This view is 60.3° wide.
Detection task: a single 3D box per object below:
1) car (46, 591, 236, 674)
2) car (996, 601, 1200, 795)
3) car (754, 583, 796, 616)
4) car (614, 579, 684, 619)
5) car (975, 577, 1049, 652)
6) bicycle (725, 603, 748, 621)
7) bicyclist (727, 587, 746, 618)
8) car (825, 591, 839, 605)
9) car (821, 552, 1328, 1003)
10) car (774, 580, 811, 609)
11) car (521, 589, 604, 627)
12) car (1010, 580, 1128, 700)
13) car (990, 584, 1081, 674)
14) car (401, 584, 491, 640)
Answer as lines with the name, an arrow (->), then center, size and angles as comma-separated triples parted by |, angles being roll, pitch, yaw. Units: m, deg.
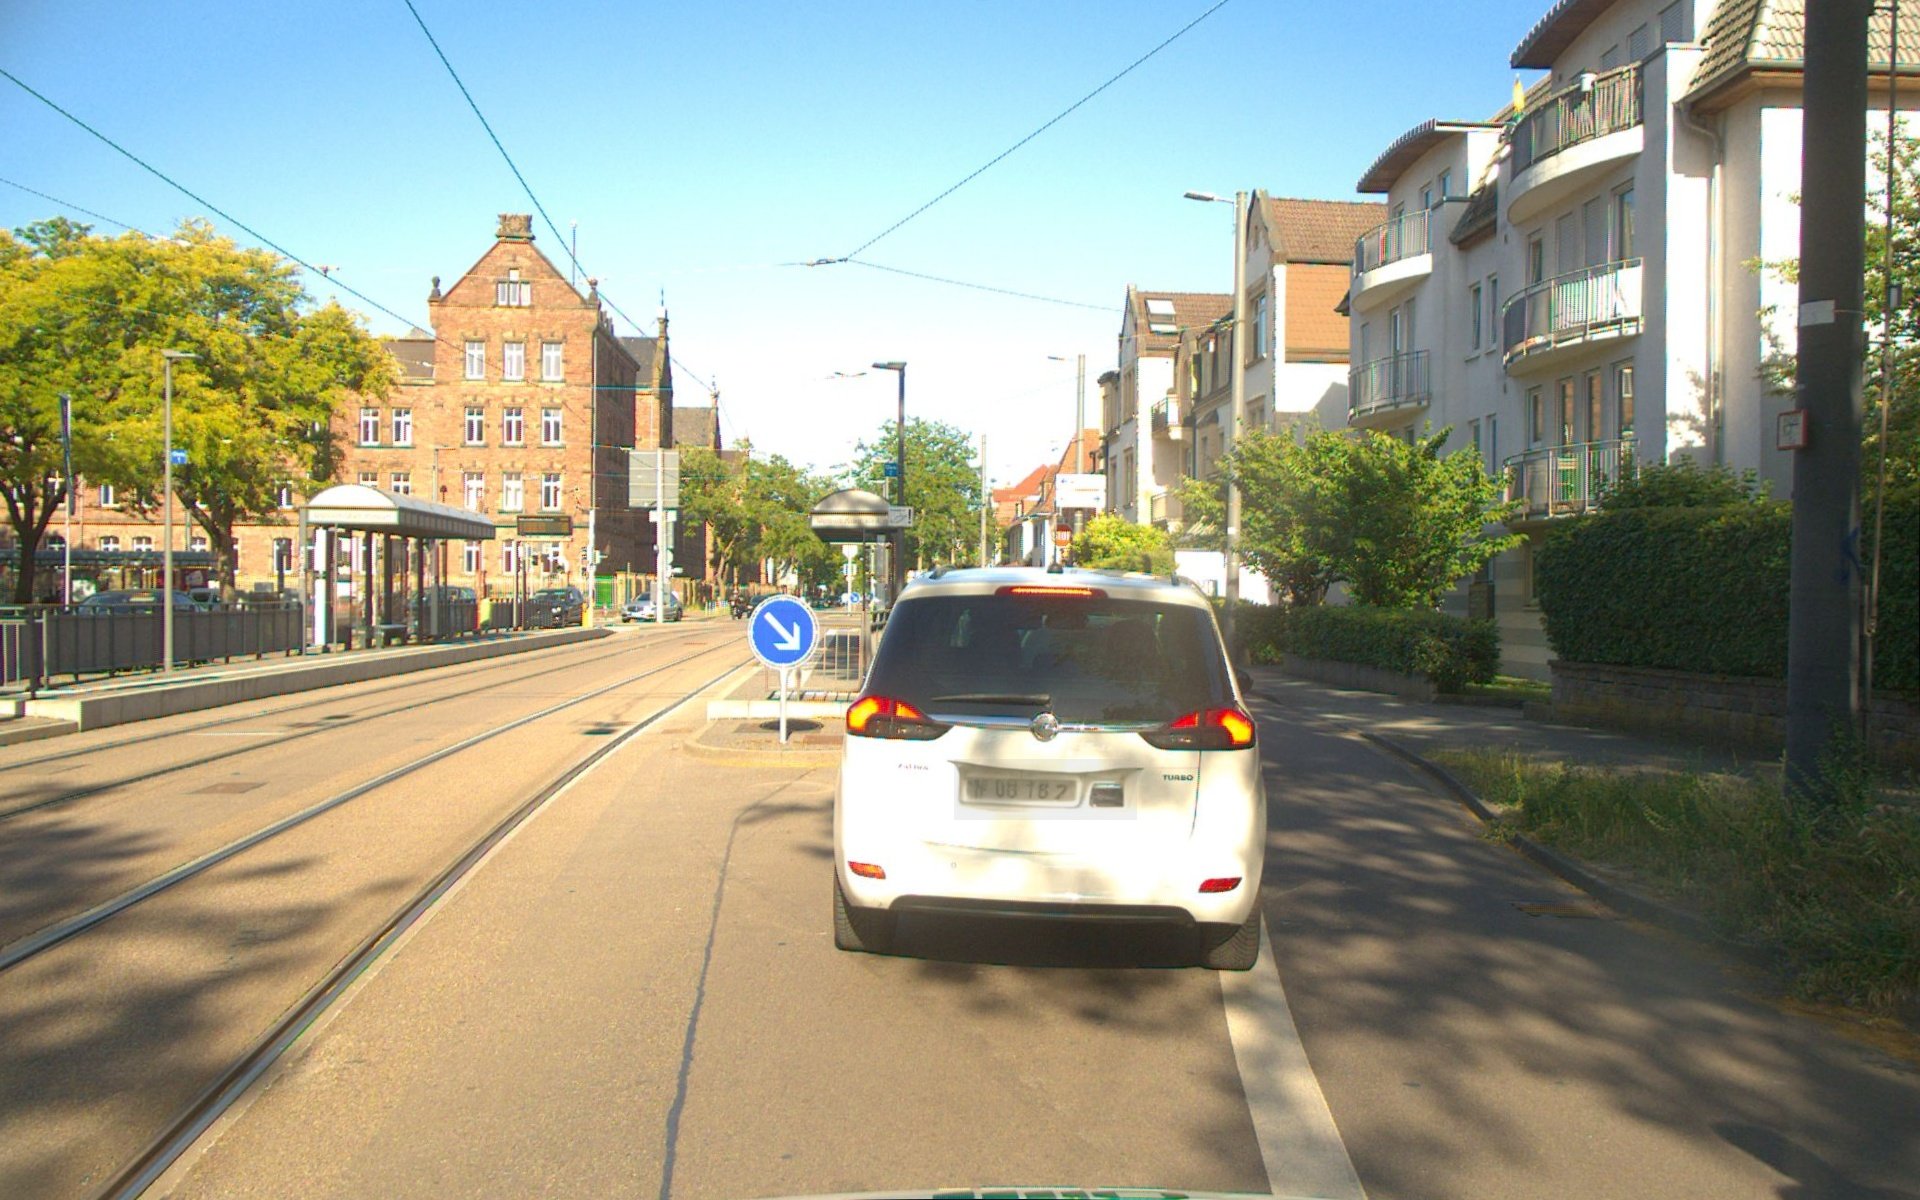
car -> -15.172, 0.542, 30.921 | 1.764, 1.406, 4.488 | -1, 0, -7
car -> 1.227, 0.763, 14.780 | 1.536, 1.426, 3.786 | 2, 0, 5
car -> -12.179, -0.020, 109.103 | 1.951, 2.049, 4.002 | 1, 0, 6
car -> -14.642, -0.020, 78.074 | 1.788, 1.819, 4.331 | 1, -1, 10
car -> 1.225, 0.309, 40.329 | 1.563, 1.663, 3.901 | 2, 1, -1
bicycle -> -12.482, 0.672, 92.537 | 0.710, 0.982, 2.062 | 1, 1, 9
bicyclist -> -12.480, 0.125, 92.532 | 0.710, 1.717, 1.170 | 1, 1, 9
car -> -18.867, -0.334, 243.405 | 1.955, 2.049, 3.994 | 1, 0, -6
car -> 0.574, 0.634, 8.073 | 1.838, 1.613, 4.002 | 1, 0, 5
car -> -12.523, -0.400, 123.605 | 1.951, 2.049, 4.002 | 1, 0, 6
car -> -16.005, 0.339, 66.763 | 1.788, 1.471, 4.330 | 1, -1, 7
car -> 1.606, 0.556, 25.326 | 1.537, 1.643, 3.784 | 2, 0, 0
car -> 1.485, 0.542, 33.766 | 1.563, 1.663, 3.900 | 2, 0, -1
car -> -15.782, 0.379, 50.982 | 1.792, 1.645, 4.321 | 1, -1, -6
